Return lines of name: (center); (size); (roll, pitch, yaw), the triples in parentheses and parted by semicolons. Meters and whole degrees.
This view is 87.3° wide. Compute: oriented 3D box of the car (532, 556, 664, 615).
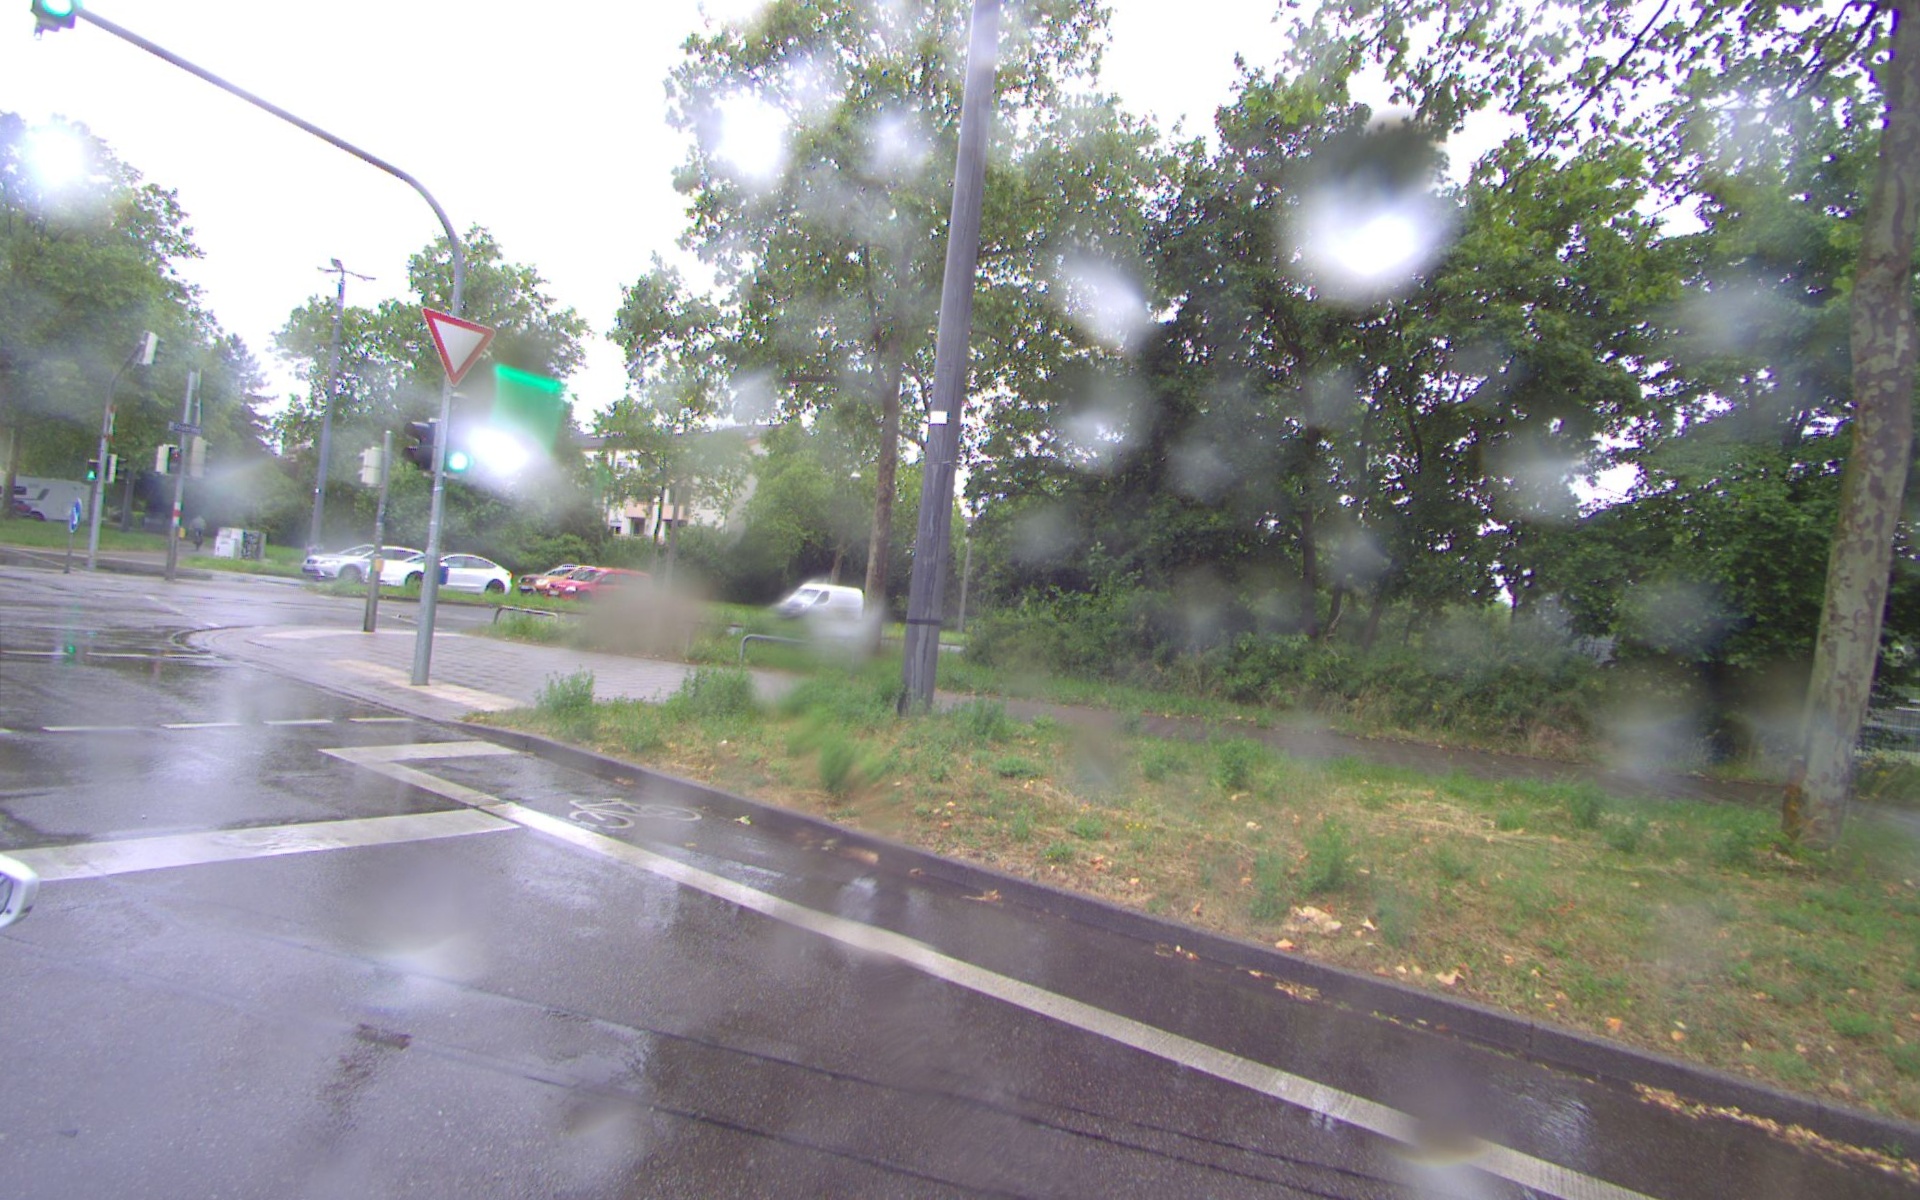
car: (-13.806, -0.512, 38.690); (1.760, 1.625, 4.615); (6, -2, 29)

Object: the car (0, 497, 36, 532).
car: (-55.760, -5.134, 57.185); (4.424, 1.736, 1.980); (9, -2, -37)

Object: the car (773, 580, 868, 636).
car: (-7.823, 0.509, 56.887); (1.967, 2.419, 5.615); (6, -2, 32)

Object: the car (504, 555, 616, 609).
car: (-16.423, -0.695, 41.512); (1.759, 1.625, 4.069); (7, -2, 26)

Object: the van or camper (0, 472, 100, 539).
van or camper: (-56.885, -5.902, 60.698); (7.296, 3.215, 3.226); (9, -2, -40)

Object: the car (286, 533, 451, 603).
car: (-20.100, -1.056, 34.392); (1.900, 1.710, 4.407); (7, -2, 26)

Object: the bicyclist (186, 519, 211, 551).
bicyclist: (-38.554, -3.290, 50.944); (0.857, 1.441, 0.946); (8, -2, -39)

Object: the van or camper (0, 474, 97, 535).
van or camper: (-63.230, -6.624, 67.599); (7.388, 3.215, 3.231); (9, -2, -36)

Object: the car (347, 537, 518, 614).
car: (-17.159, -0.743, 32.981); (1.900, 1.849, 4.608); (7, -2, 26)

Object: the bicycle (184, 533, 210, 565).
bicycle: (-38.528, -2.593, 50.797); (0.857, 1.441, 2.675); (8, -2, -38)
